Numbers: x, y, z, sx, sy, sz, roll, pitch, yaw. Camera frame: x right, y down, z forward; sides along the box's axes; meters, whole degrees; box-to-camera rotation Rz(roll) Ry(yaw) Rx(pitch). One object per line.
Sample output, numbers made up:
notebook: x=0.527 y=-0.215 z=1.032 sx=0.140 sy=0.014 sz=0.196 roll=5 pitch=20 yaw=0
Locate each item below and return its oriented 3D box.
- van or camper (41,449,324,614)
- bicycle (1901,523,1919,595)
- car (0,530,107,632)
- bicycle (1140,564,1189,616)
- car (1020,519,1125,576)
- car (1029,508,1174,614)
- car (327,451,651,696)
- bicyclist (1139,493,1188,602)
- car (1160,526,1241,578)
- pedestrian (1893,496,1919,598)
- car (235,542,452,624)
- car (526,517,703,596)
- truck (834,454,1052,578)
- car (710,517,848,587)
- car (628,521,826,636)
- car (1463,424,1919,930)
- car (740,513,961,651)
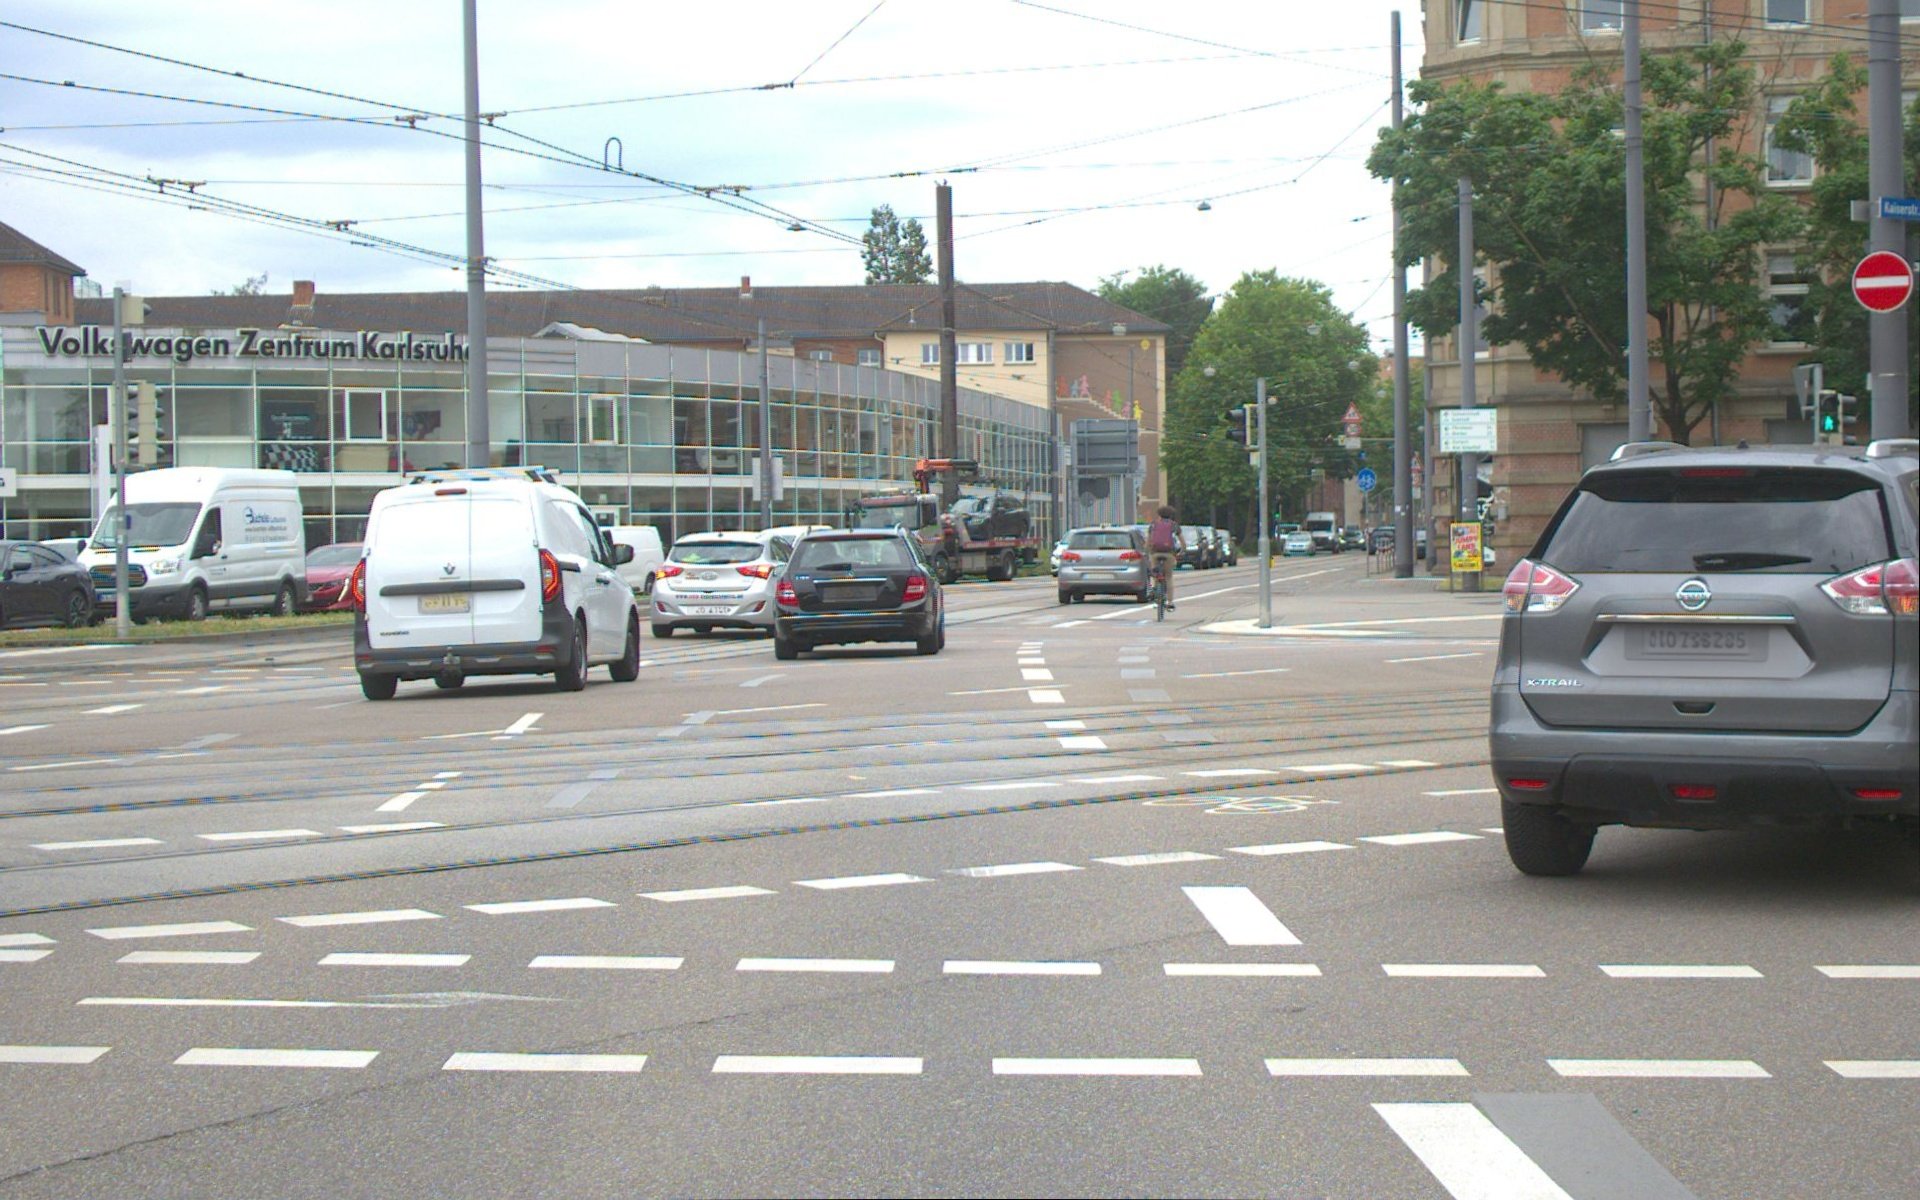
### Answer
van or camper: x=-12.862 y=-1.126 z=57.356 sx=2.416 sy=2.602 sz=6.049 roll=1 pitch=1 yaw=10
bicycle: x=18.637 y=-0.772 z=65.433 sx=0.959 sy=1.349 sz=3.117 roll=1 pitch=1 yaw=23
car: x=-14.264 y=-0.284 z=49.756 sx=1.994 sy=1.415 sz=4.660 roll=0 pitch=1 yaw=10
bicycle: x=3.205 y=-0.167 z=54.039 sx=0.619 sy=0.791 sz=1.592 roll=-1 pitch=1 yaw=-2
car: x=3.721 y=-1.737 z=112.529 sx=1.996 sy=1.832 sz=4.518 roll=0 pitch=1 yaw=22
car: x=2.795 y=-0.762 z=67.117 sx=1.995 sy=2.007 sz=3.997 roll=1 pitch=1 yaw=15
car: x=-3.939 y=-0.248 z=29.453 sx=1.913 sy=1.933 sz=4.131 roll=-1 pitch=1 yaw=4
bicyclist: x=3.195 y=-0.827 z=54.018 sx=0.687 sy=1.702 sz=0.798 roll=-1 pitch=1 yaw=-2
car: x=8.842 y=-1.782 z=126.041 sx=1.995 sy=1.832 sz=4.519 roll=0 pitch=1 yaw=17
pedestrian: x=16.514 y=-0.910 z=58.783 sx=0.909 sy=1.722 sz=0.603 roll=-1 pitch=1 yaw=-9
car: x=-11.398 y=-0.341 z=63.944 sx=1.995 sy=1.415 sz=4.798 roll=0 pitch=1 yaw=17
car: x=-8.346 y=-1.091 z=83.588 sx=2.159 sy=1.850 sz=5.442 roll=0 pitch=1 yaw=19
truck: x=-0.389 y=-2.451 z=102.740 sx=2.798 sy=3.537 sz=9.211 roll=1 pitch=1 yaw=25
car: x=-4.843 y=-1.309 z=92.644 sx=1.996 sy=1.832 sz=4.518 roll=0 pitch=1 yaw=22
car: x=-3.156 y=-0.312 z=47.376 sx=1.854 sy=1.503 sz=3.999 roll=1 pitch=1 yaw=9
car: x=3.456 y=0.217 z=13.983 sx=1.752 sy=1.750 sz=3.919 roll=0 pitch=1 yaw=25
car: x=-1.139 y=-0.223 z=37.856 sx=1.994 sy=1.415 sz=4.000 roll=-1 pitch=1 yaw=4
